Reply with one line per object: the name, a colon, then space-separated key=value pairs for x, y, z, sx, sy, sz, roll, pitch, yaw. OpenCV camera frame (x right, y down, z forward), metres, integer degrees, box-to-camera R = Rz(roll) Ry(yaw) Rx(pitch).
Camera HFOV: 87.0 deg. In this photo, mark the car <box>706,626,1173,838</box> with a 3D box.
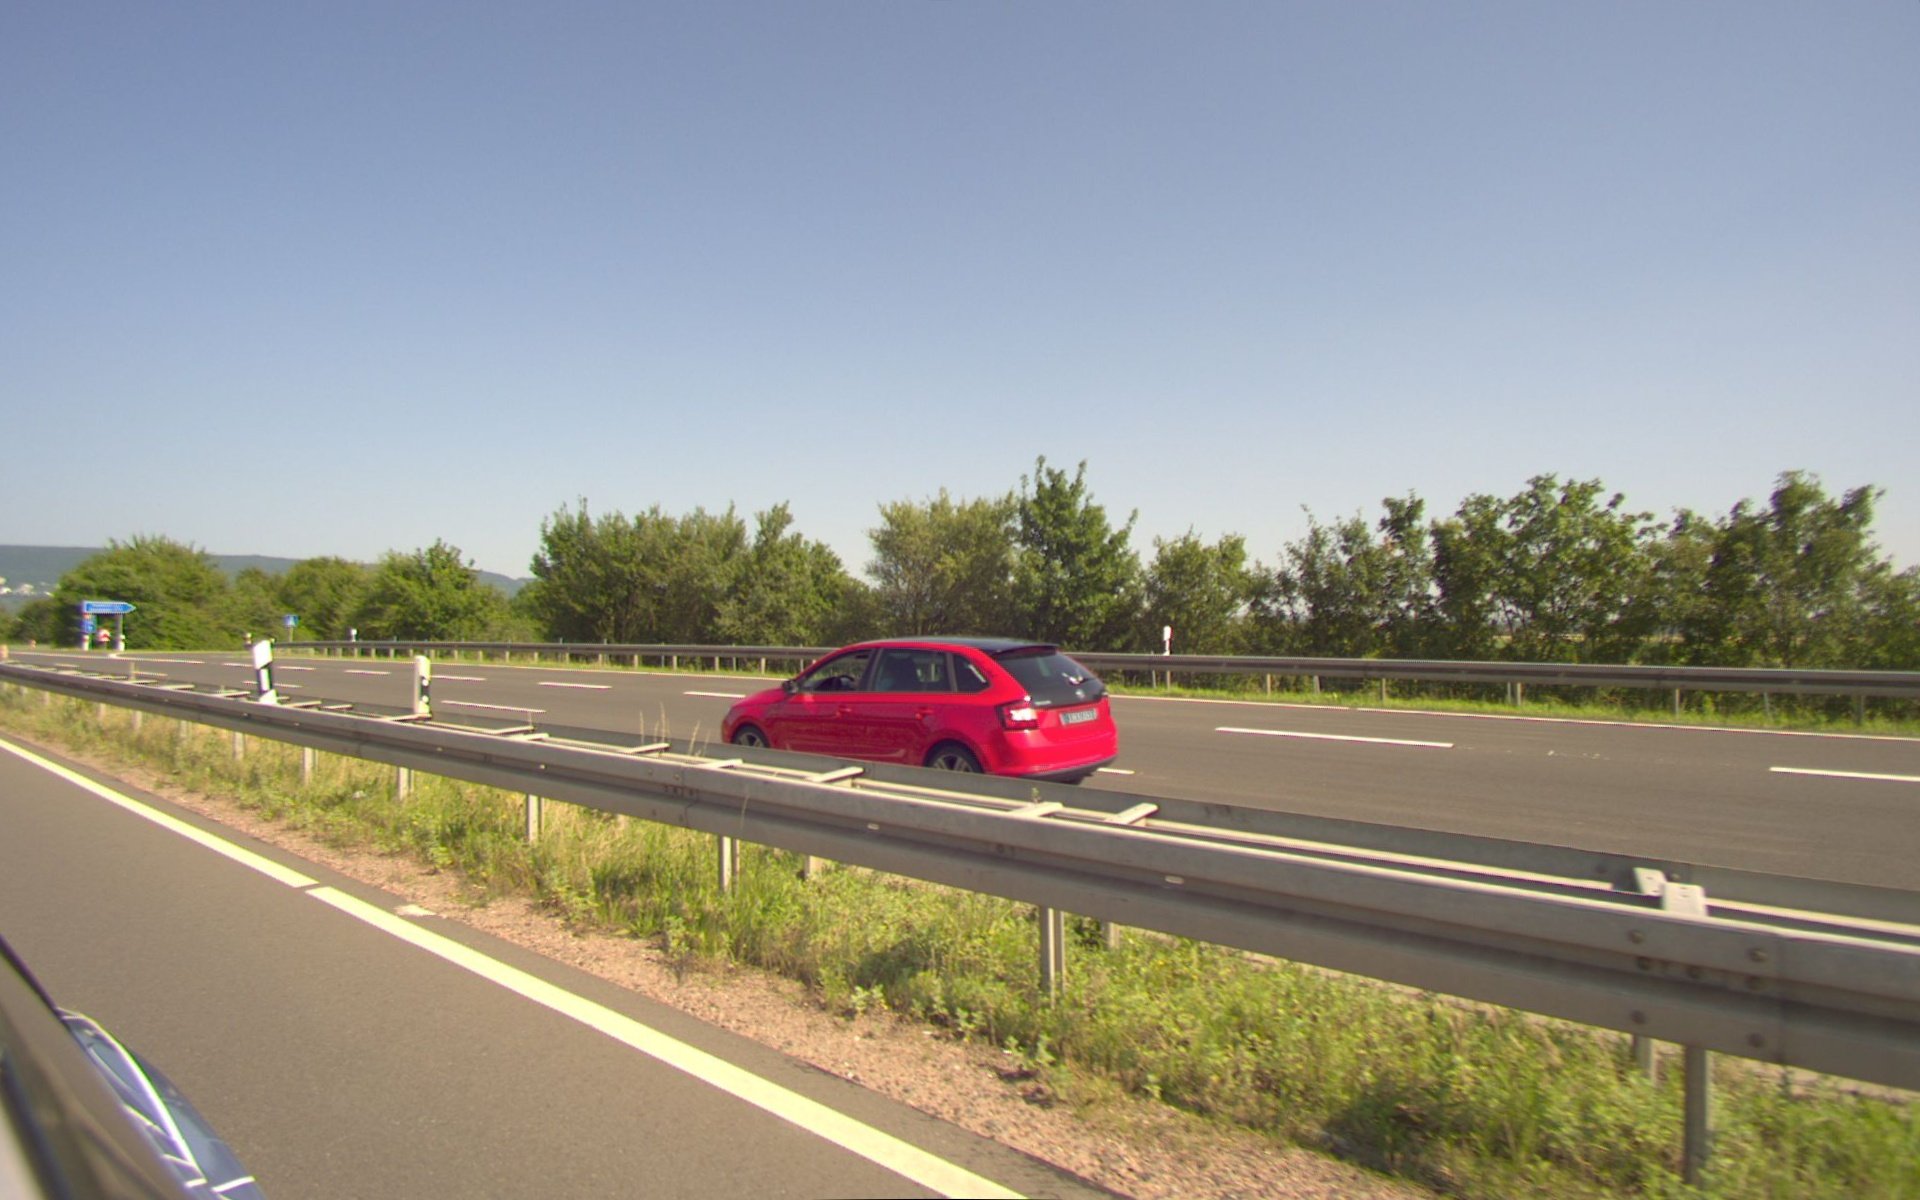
car: x=-0.352 y=1.019 z=9.423 sx=4.261 sy=1.497 sz=1.693 roll=-1 pitch=0 yaw=39
